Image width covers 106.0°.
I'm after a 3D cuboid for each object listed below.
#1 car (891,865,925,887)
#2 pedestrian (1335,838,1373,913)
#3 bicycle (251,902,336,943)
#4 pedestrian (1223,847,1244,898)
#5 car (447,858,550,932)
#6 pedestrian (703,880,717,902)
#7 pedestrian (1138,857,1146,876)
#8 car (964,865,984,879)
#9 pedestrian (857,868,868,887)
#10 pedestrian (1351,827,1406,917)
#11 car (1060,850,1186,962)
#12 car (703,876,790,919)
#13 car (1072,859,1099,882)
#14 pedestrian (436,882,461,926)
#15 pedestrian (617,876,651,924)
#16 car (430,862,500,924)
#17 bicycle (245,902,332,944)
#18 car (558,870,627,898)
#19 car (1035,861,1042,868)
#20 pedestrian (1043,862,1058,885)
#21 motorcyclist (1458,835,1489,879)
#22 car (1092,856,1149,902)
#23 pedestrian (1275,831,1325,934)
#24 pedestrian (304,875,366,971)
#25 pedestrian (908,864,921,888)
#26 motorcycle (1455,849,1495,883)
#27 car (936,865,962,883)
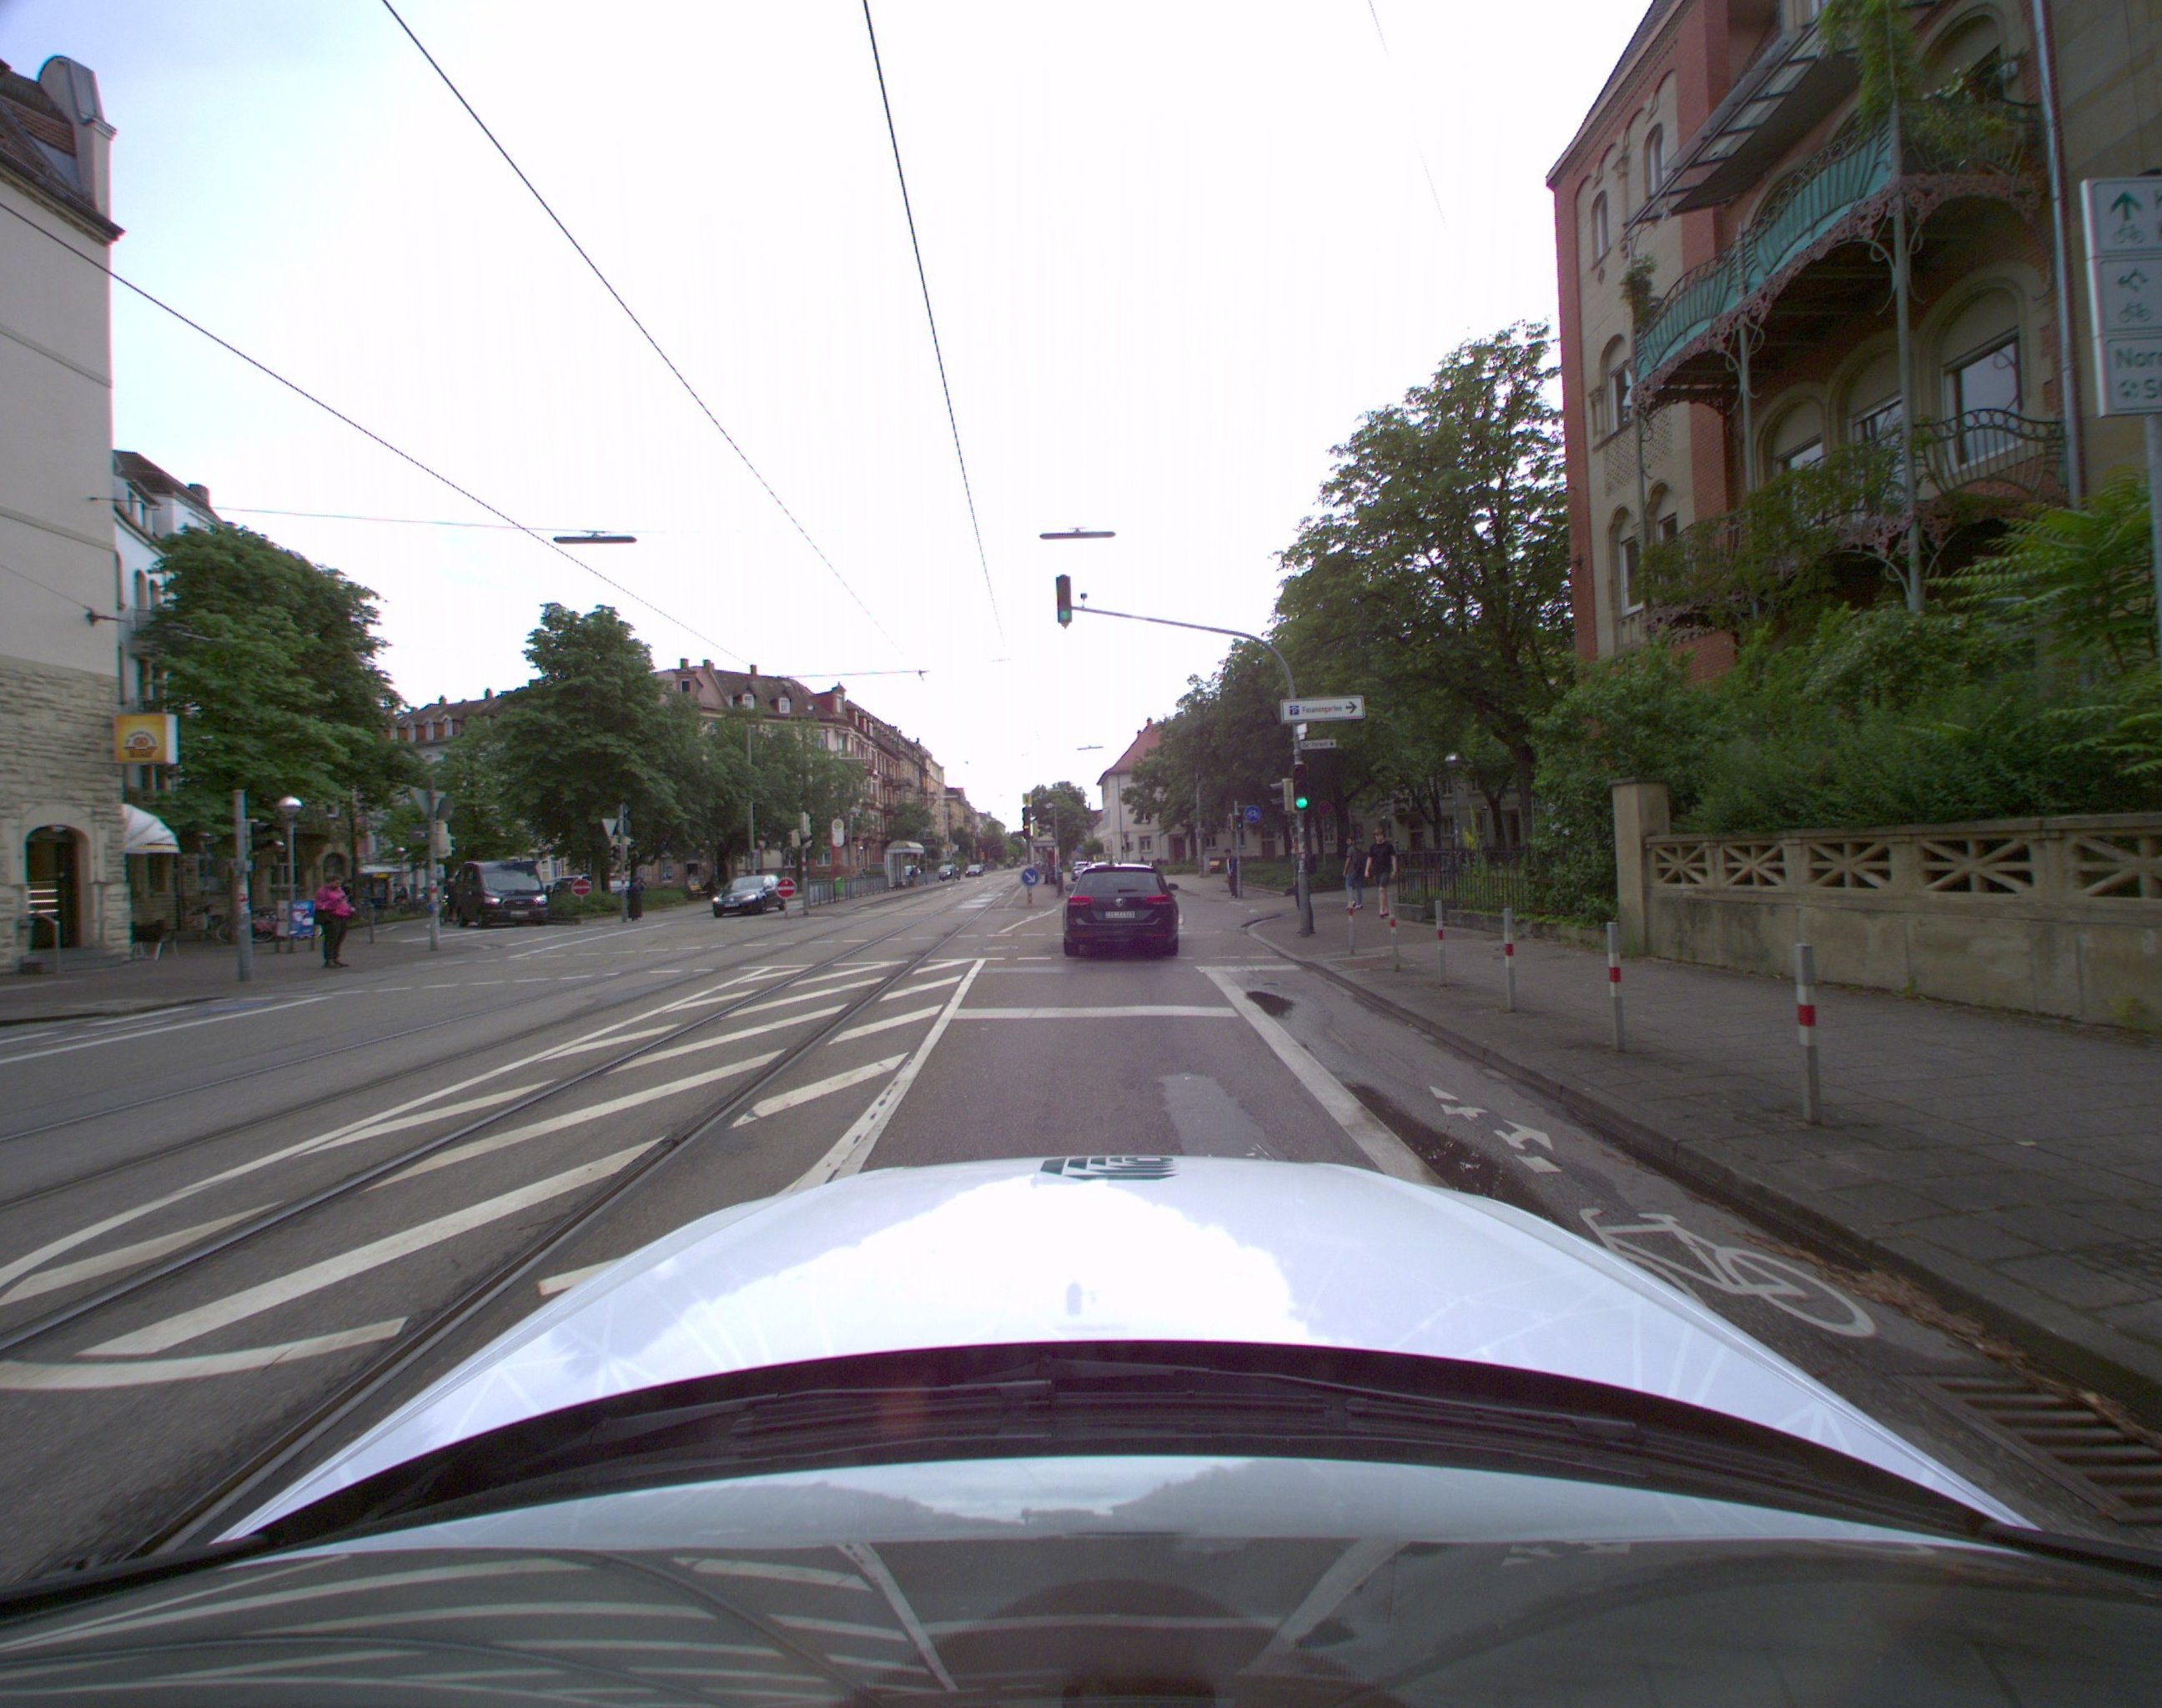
[{"bbox_3d":[-13.986,1.743,65.868,1.789,1.596,4.000,-2,-1,0],"label":"car"},{"bbox_3d":[6.769,0.530,20.201,0.630,1.815,0.726,-3,-1,0],"label":"pedestrian"},{"bbox_3d":[-23.952,2.067,24.809,0.354,1.076,1.826,-3,-1,41],"label":"bicycle"},{"bbox_3d":[5.642,0.688,30.210,0.513,1.831,0.418,-6,-1,-1],"label":"pedestrian"},{"bbox_3d":[-21.451,1.469,29.905,2.199,2.417,5.313,-2,-1,-45],"label":"car"},{"bbox_3d":[-20.572,2.040,45.167,0.592,1.168,0.836,-2,-1,-31],"label":"pedestrian"},{"bbox_3d":[5.006,1.005,67.025,0.579,1.553,0.609,-2,-1,0],"label":"pedestrian"},{"bbox_3d":[-12.915,2.144,98.238,1.789,1.596,4.000,-2,-1,0],"label":"car"},{"bbox_3d":[-18.002,1.924,67.062,0.582,1.521,0.653,-3,-1,33],"label":"pedestrian"},{"bbox_3d":[6.220,0.374,17.047,0.656,1.831,0.790,-2,-1,-43],"label":"pedestrian"},{"bbox_3d":[0.555,0.761,13.712,1.719,1.546,3.996,-2,0,-2],"label":"car"},{"bbox_3d":[-12.384,1.578,30.410,1.682,1.382,3.854,-3,-1,-2],"label":"car"},{"bbox_3d":[0.295,1.212,60.052,1.719,1.546,3.996,-2,0,-2],"label":"car"},{"bbox_3d":[-25.660,2.023,33.043,0.704,1.715,0.545,-2,-1,-42],"label":"pedestrian"},{"bbox_3d":[-16.036,1.639,29.210,0.834,1.663,0.591,-3,-1,-1],"label":"pedestrian"},{"bbox_3d":[-27.865,1.718,36.989,2.195,2.527,5.322,-2,-1,-34],"label":"car"},{"bbox_3d":[-23.641,2.045,24.328,0.354,1.076,1.826,-3,-1,41],"label":"bicycle"},{"bbox_3d":[-30.471,1.845,50.959,1.789,1.596,4.000,-2,-1,0],"label":"car"},{"bbox_3d":[-13.420,3.427,257.811,2.028,2.014,3.996,-1,-1,-2],"label":"car"},{"bbox_3d":[-1.868,1.183,49.515,0.821,1.304,0.568,-3,-1,-3],"label":"pedestrian"},{"bbox_3d":[15.377,0.115,31.893,0.807,1.692,0.698,-2,-1,-33],"label":"motorcyclist"},{"bbox_3d":[1.403,0.876,30.385,1.719,1.546,3.996,-2,0,-2],"label":"car"},{"bbox_3d":[4.061,0.526,15.153,0.584,1.831,0.604,-6,-1,-1],"label":"pedestrian"},{"bbox_3d":[-14.856,1.350,16.223,0.622,1.842,0.609,-3,-1,-5],"label":"pedestrian"},{"bbox_3d":[-10.904,1.446,53.363,0.712,1.521,0.589,-3,-1,-1],"label":"pedestrian"},{"bbox_3d":[15.475,0.453,31.956,1.914,1.235,0.443,-2,-1,-34],"label":"motorcycle"},{"bbox_3d":[-12.832,1.897,79.361,1.789,1.596,4.000,-2,-1,0],"label":"car"}]
